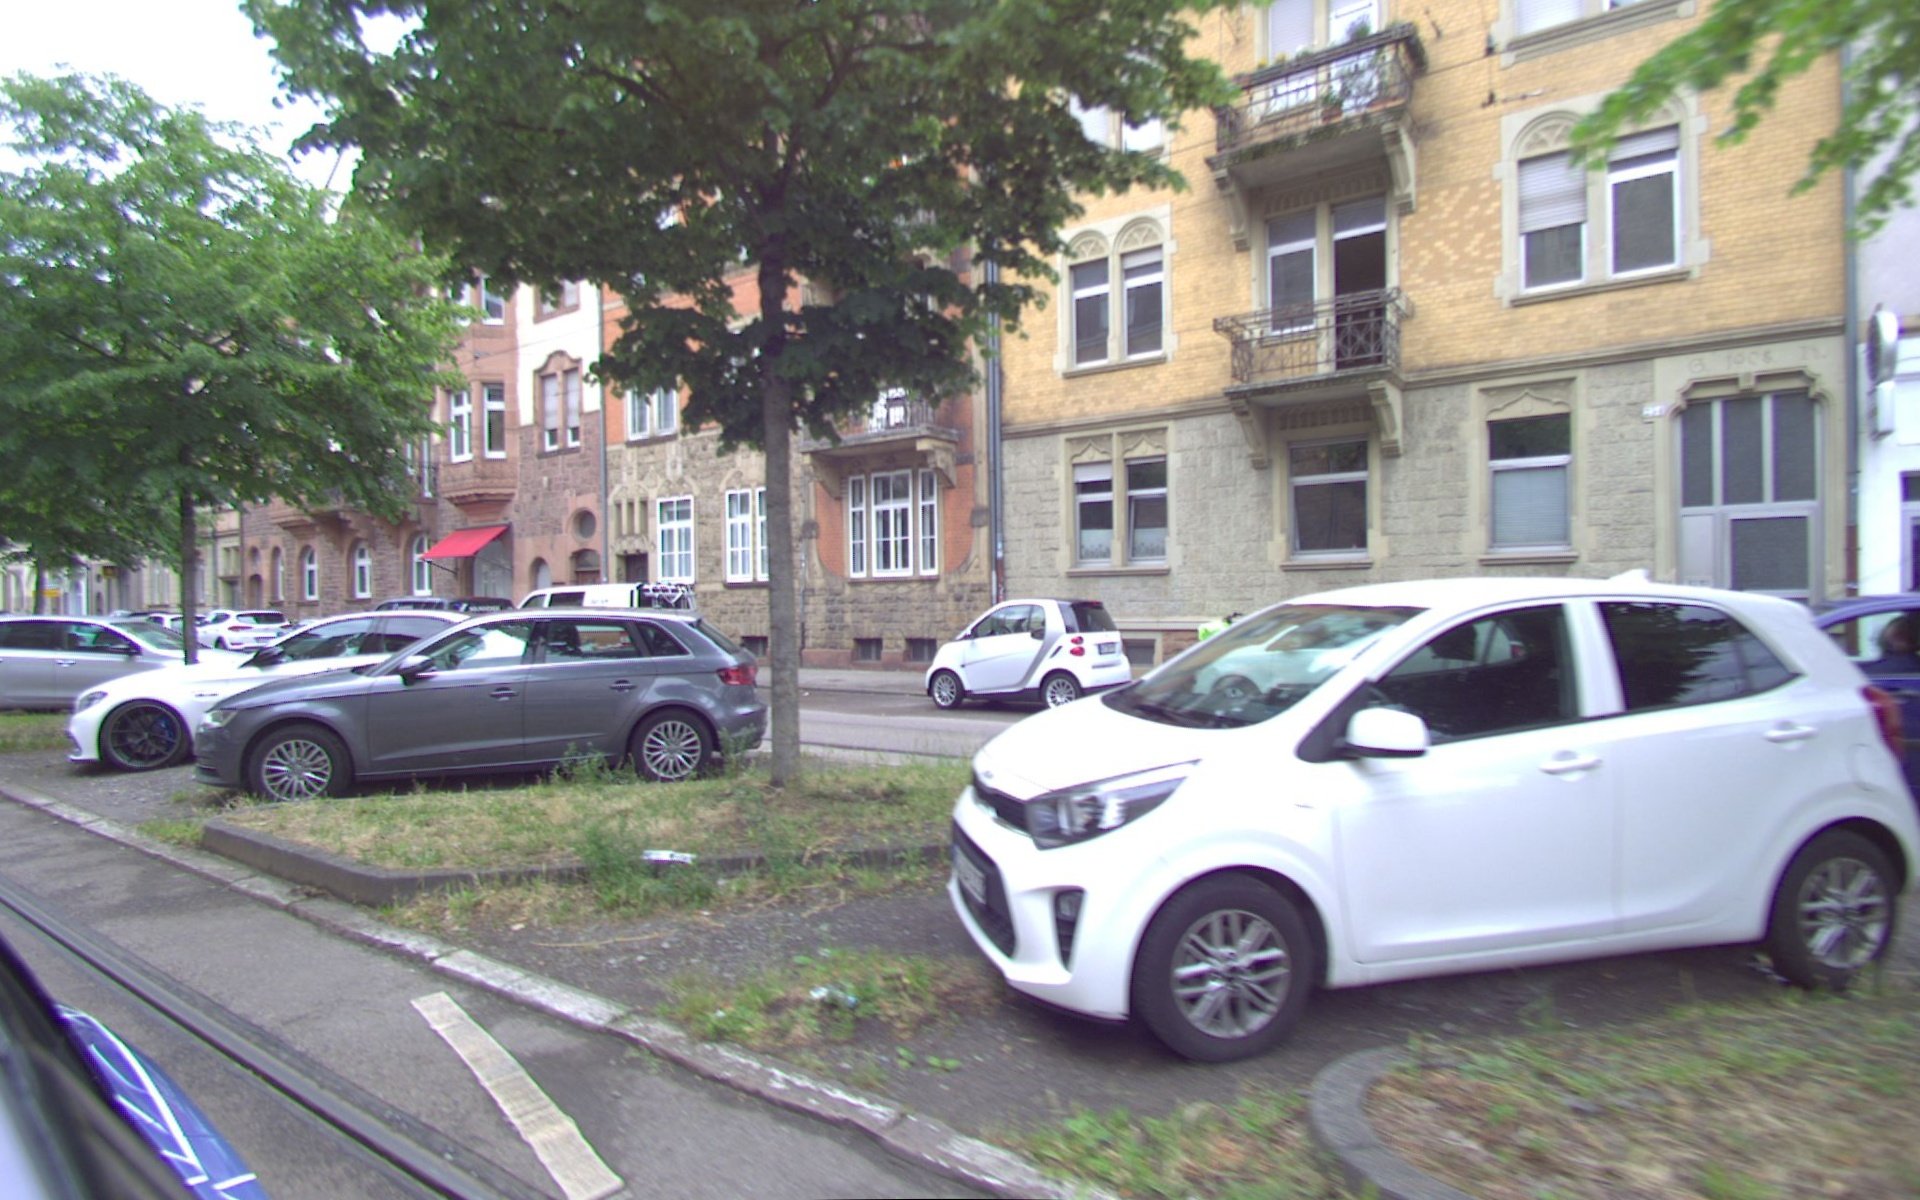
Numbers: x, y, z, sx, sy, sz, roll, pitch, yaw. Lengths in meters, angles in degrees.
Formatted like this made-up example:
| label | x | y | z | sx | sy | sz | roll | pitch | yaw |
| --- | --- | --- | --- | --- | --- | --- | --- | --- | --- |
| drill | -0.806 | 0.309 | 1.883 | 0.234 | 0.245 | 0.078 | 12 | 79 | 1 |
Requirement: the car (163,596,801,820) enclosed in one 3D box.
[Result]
| label | x | y | z | sx | sy | sz | roll | pitch | yaw |
| --- | --- | --- | --- | --- | --- | --- | --- | --- | --- |
| car | -3.570 | 0.738 | 8.311 | 4.267 | 1.445 | 1.904 | -1 | 0 | -15 |

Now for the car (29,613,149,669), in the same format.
| label | x | y | z | sx | sy | sz | roll | pitch | yaw |
| --- | --- | --- | --- | --- | --- | --- | --- | --- | --- |
| car | -25.785 | 1.162 | 29.905 | 4.612 | 1.515 | 1.630 | -1 | 0 | 35 |

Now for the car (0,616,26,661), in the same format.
| label | x | y | z | sx | sy | sz | roll | pitch | yaw |
| --- | --- | --- | --- | --- | --- | --- | --- | --- | --- |
| car | -36.152 | 1.387 | 37.186 | 4.537 | 1.591 | 1.789 | -1 | 0 | 35 |

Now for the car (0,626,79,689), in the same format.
| label | x | y | z | sx | sy | sz | roll | pitch | yaw |
| --- | --- | --- | --- | --- | --- | --- | --- | --- | --- |
| car | -20.709 | 1.193 | 20.597 | 3.898 | 1.211 | 1.672 | -1 | 0 | -10 |

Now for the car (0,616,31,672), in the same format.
| label | x | y | z | sx | sy | sz | roll | pitch | yaw |
| --- | --- | --- | --- | --- | --- | --- | --- | --- | --- |
| car | -26.039 | 1.139 | 24.796 | 4.591 | 1.378 | 1.762 | -1 | 0 | -11 |

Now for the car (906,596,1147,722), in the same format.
| label | x | y | z | sx | sy | sz | roll | pitch | yaw |
| --- | --- | --- | --- | --- | --- | --- | --- | --- | --- |
| car | 0.907 | 0.756 | 14.109 | 2.943 | 1.562 | 1.621 | -1 | 0 | 35 |

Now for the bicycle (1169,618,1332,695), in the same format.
| label | x | y | z | sx | sy | sz | roll | pitch | yaw |
| --- | --- | --- | --- | --- | --- | --- | --- | --- | --- |
| bicycle | 4.345 | 0.820 | 15.230 | 2.254 | 1.081 | 0.705 | -1 | 0 | 34 |

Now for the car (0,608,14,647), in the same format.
| label | x | y | z | sx | sy | sz | roll | pitch | yaw |
| --- | --- | --- | --- | --- | --- | --- | --- | --- | --- |
| car | -49.031 | 1.403 | 50.572 | 4.423 | 1.885 | 1.834 | -1 | -1 | 37 |

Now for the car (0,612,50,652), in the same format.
| label | x | y | z | sx | sy | sz | roll | pitch | yaw |
| --- | --- | --- | --- | --- | --- | --- | --- | --- | --- |
| car | -43.062 | 1.427 | 45.896 | 4.264 | 1.692 | 1.789 | -1 | 0 | 35 |

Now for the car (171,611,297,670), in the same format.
| label | x | y | z | sx | sy | sz | roll | pitch | yaw |
| --- | --- | --- | --- | --- | --- | --- | --- | --- | --- |
| car | -22.018 | 1.163 | 30.645 | 4.544 | 1.639 | 1.725 | -1 | 0 | 35 |

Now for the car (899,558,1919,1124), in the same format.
| label | x | y | z | sx | sy | sz | roll | pitch | yaw |
| --- | --- | --- | --- | --- | --- | --- | --- | --- | --- |
| car | 1.788 | 0.625 | 3.900 | 3.799 | 1.474 | 1.694 | -1 | 0 | -12 |

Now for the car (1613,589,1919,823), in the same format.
| label | x | y | z | sx | sy | sz | roll | pitch | yaw |
| --- | --- | --- | --- | --- | --- | --- | --- | --- | --- |
| car | 6.515 | 0.621 | 6.465 | 3.875 | 1.393 | 1.630 | -1 | 0 | 35 |

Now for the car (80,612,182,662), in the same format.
| label | x | y | z | sx | sy | sz | roll | pitch | yaw |
| --- | --- | --- | --- | --- | --- | --- | --- | --- | --- |
| car | -29.709 | 1.286 | 36.228 | 4.311 | 1.641 | 1.753 | -1 | 0 | 35 |

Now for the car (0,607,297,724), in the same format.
| label | x | y | z | sx | sy | sz | roll | pitch | yaw |
| --- | --- | --- | --- | --- | --- | --- | --- | --- | --- |
| car | -12.199 | 0.892 | 14.574 | 4.049 | 1.495 | 1.802 | -1 | 0 | -13 |

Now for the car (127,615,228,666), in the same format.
| label | x | y | z | sx | sy | sz | roll | pitch | yaw |
| --- | --- | --- | --- | --- | --- | --- | --- | --- | --- |
| car | -25.944 | 1.301 | 33.522 | 3.714 | 1.571 | 1.647 | -1 | 0 | 35 |

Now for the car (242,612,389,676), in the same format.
| label | x | y | z | sx | sy | sz | roll | pitch | yaw |
| --- | --- | --- | --- | --- | --- | --- | --- | --- | --- |
| car | -17.175 | 1.109 | 26.902 | 4.544 | 1.553 | 1.725 | -1 | 0 | 35 |

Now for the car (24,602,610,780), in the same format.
| label | x | y | z | sx | sy | sz | roll | pitch | yaw |
| --- | --- | --- | --- | --- | --- | --- | --- | --- | --- |
| car | -6.034 | 0.789 | 10.174 | 4.609 | 1.445 | 1.904 | -1 | 0 | -15 |

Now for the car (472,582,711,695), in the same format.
| label | x | y | z | sx | sy | sz | roll | pitch | yaw |
| --- | --- | --- | --- | --- | --- | --- | --- | --- | --- |
| car | -7.328 | 0.688 | 19.868 | 5.083 | 1.967 | 1.865 | -1 | 0 | 35 |

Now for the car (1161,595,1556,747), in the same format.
| label | x | y | z | sx | sy | sz | roll | pitch | yaw |
| --- | --- | --- | --- | --- | --- | --- | --- | --- | --- |
| car | 4.442 | 0.712 | 11.510 | 3.914 | 1.454 | 1.621 | -1 | 0 | 35 |

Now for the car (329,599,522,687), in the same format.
| label | x | y | z | sx | sy | sz | roll | pitch | yaw |
| --- | --- | --- | --- | --- | --- | --- | --- | --- | --- |
| car | -12.258 | 0.907 | 23.069 | 5.106 | 1.795 | 1.798 | -1 | 0 | 35 |

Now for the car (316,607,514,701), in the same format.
| label | x | y | z | sx | sy | sz | roll | pitch | yaw |
| --- | --- | --- | --- | --- | --- | --- | --- | --- | --- |
| car | -9.906 | 0.908 | 18.313 | 3.875 | 1.515 | 1.630 | -1 | 0 | 35 |
